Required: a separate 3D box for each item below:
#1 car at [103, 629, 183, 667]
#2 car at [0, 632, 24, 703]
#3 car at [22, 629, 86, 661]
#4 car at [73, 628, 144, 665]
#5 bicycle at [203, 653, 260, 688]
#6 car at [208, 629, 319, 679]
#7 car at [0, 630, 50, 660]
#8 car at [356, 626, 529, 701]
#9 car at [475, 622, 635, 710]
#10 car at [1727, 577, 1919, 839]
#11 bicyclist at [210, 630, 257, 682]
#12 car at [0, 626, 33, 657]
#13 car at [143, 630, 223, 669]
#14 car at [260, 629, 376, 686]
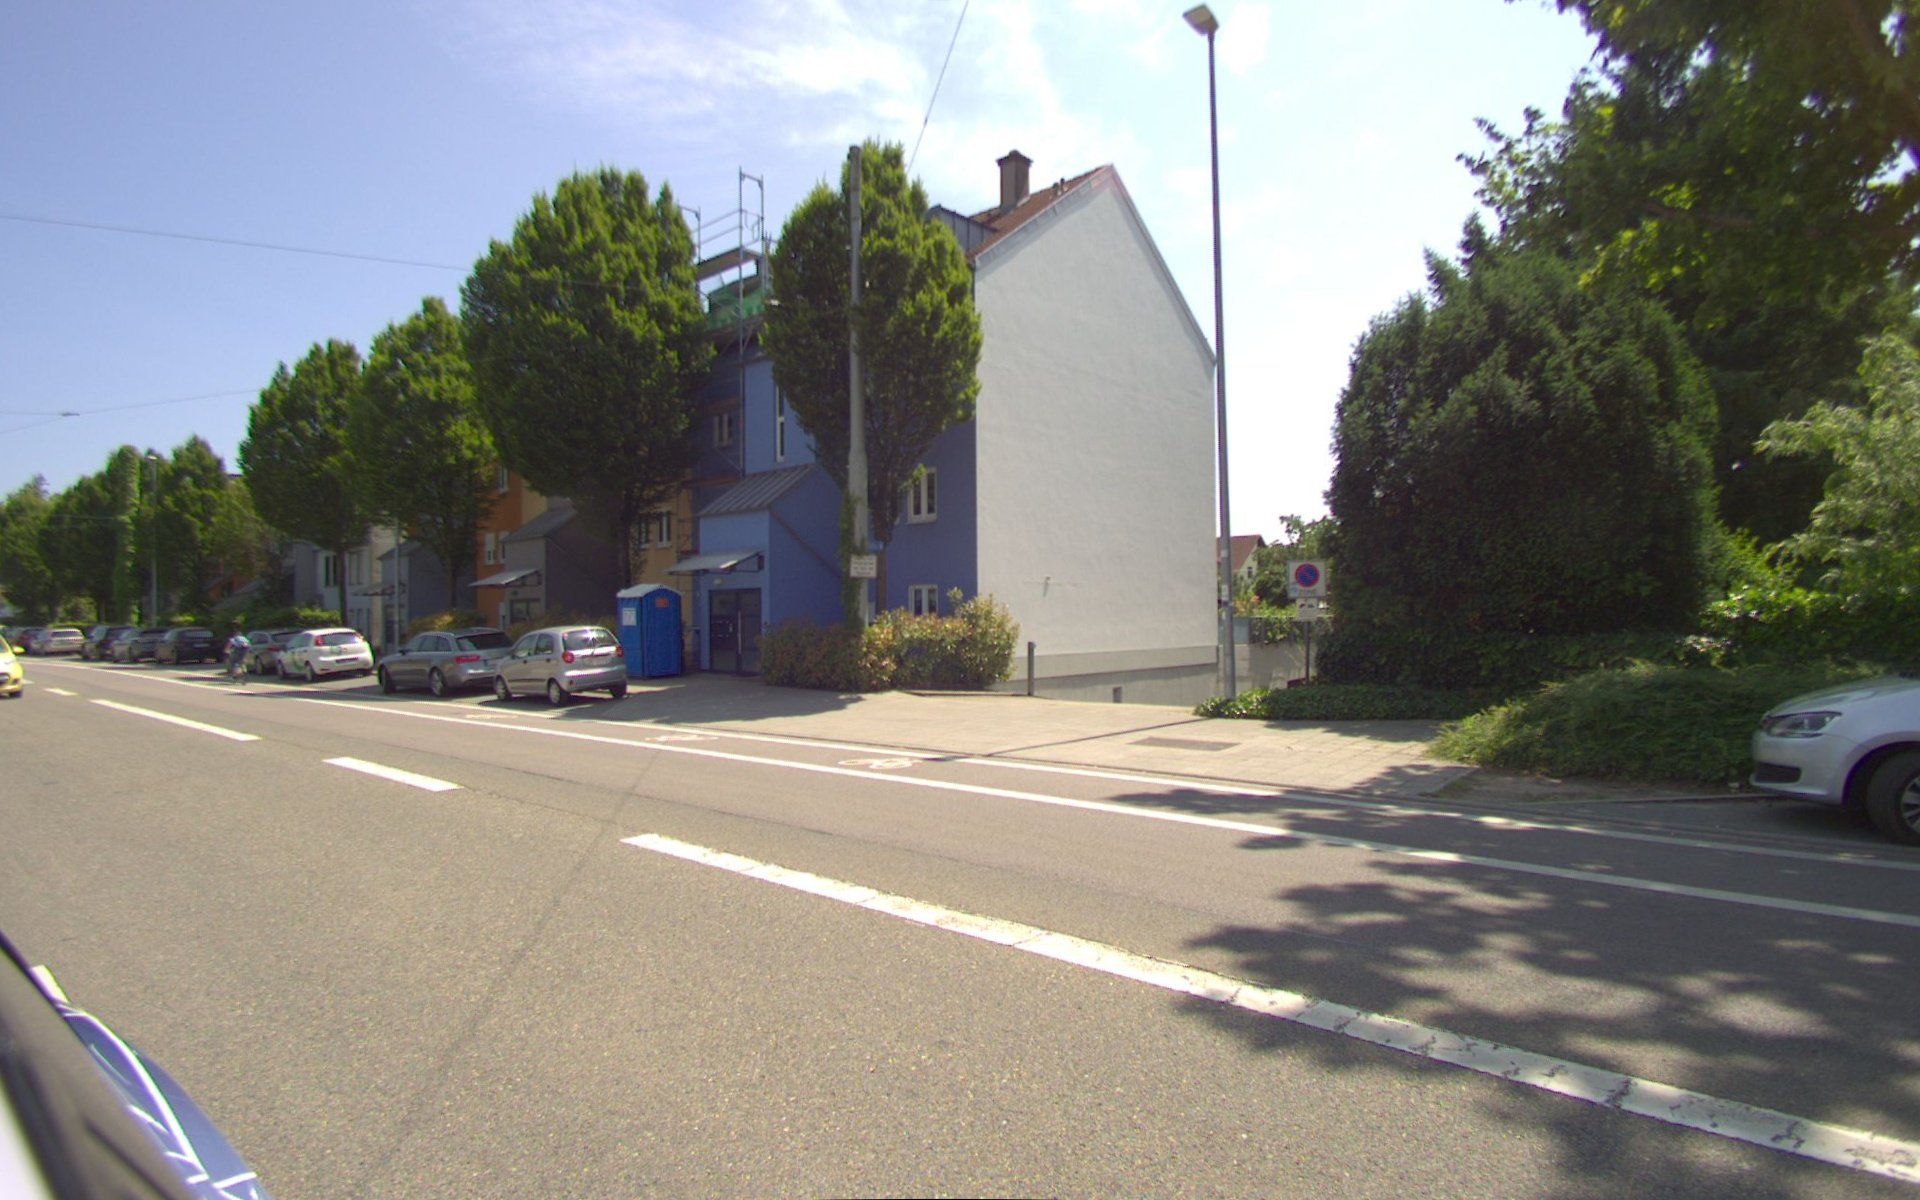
[{"bbox_3d":[-36.307,2.129,44.952,4.752,1.507,1.807,-2,0,39],"label":"car"},{"bbox_3d":[-21.051,1.431,21.214,3.513,1.421,1.673,-2,0,41],"label":"car"},{"bbox_3d":[-49.771,2.463,55.553,4.490,1.594,1.823,-2,0,38],"label":"car"},{"bbox_3d":[-40.884,2.232,48.546,4.142,1.601,1.750,-2,0,38],"label":"car"},{"bbox_3d":[-20.557,1.986,28.543,2.240,0.958,0.695,-3,-4,39],"label":"bicycle"},{"bbox_3d":[-23.761,1.800,34.447,4.744,1.440,1.688,-2,3,38],"label":"car"},{"bbox_3d":[-54.623,2.620,58.926,3.673,1.606,1.586,-2,0,35],"label":"car"},{"bbox_3d":[-12.443,1.485,24.180,5.129,1.461,1.769,-3,2,40],"label":"car"},{"bbox_3d":[-8.347,1.298,20.749,3.447,1.506,1.577,-2,3,41],"label":"car"},{"bbox_3d":[7.819,0.648,6.250,4.778,1.677,1.853,-2,-1,41],"label":"car"},{"bbox_3d":[-20.444,1.578,28.486,1.123,1.442,0.728,-2,-5,38],"label":"bicyclist"},{"bbox_3d":[-58.781,2.562,62.074,4.548,1.807,1.976,-2,-1,35],"label":"car"},{"bbox_3d":[-32.088,2.007,41.758,4.254,1.443,1.732,-2,1,40],"label":"car"},{"bbox_3d":[-19.654,1.720,30.912,4.417,1.453,1.729,-2,3,41],"label":"car"}]
